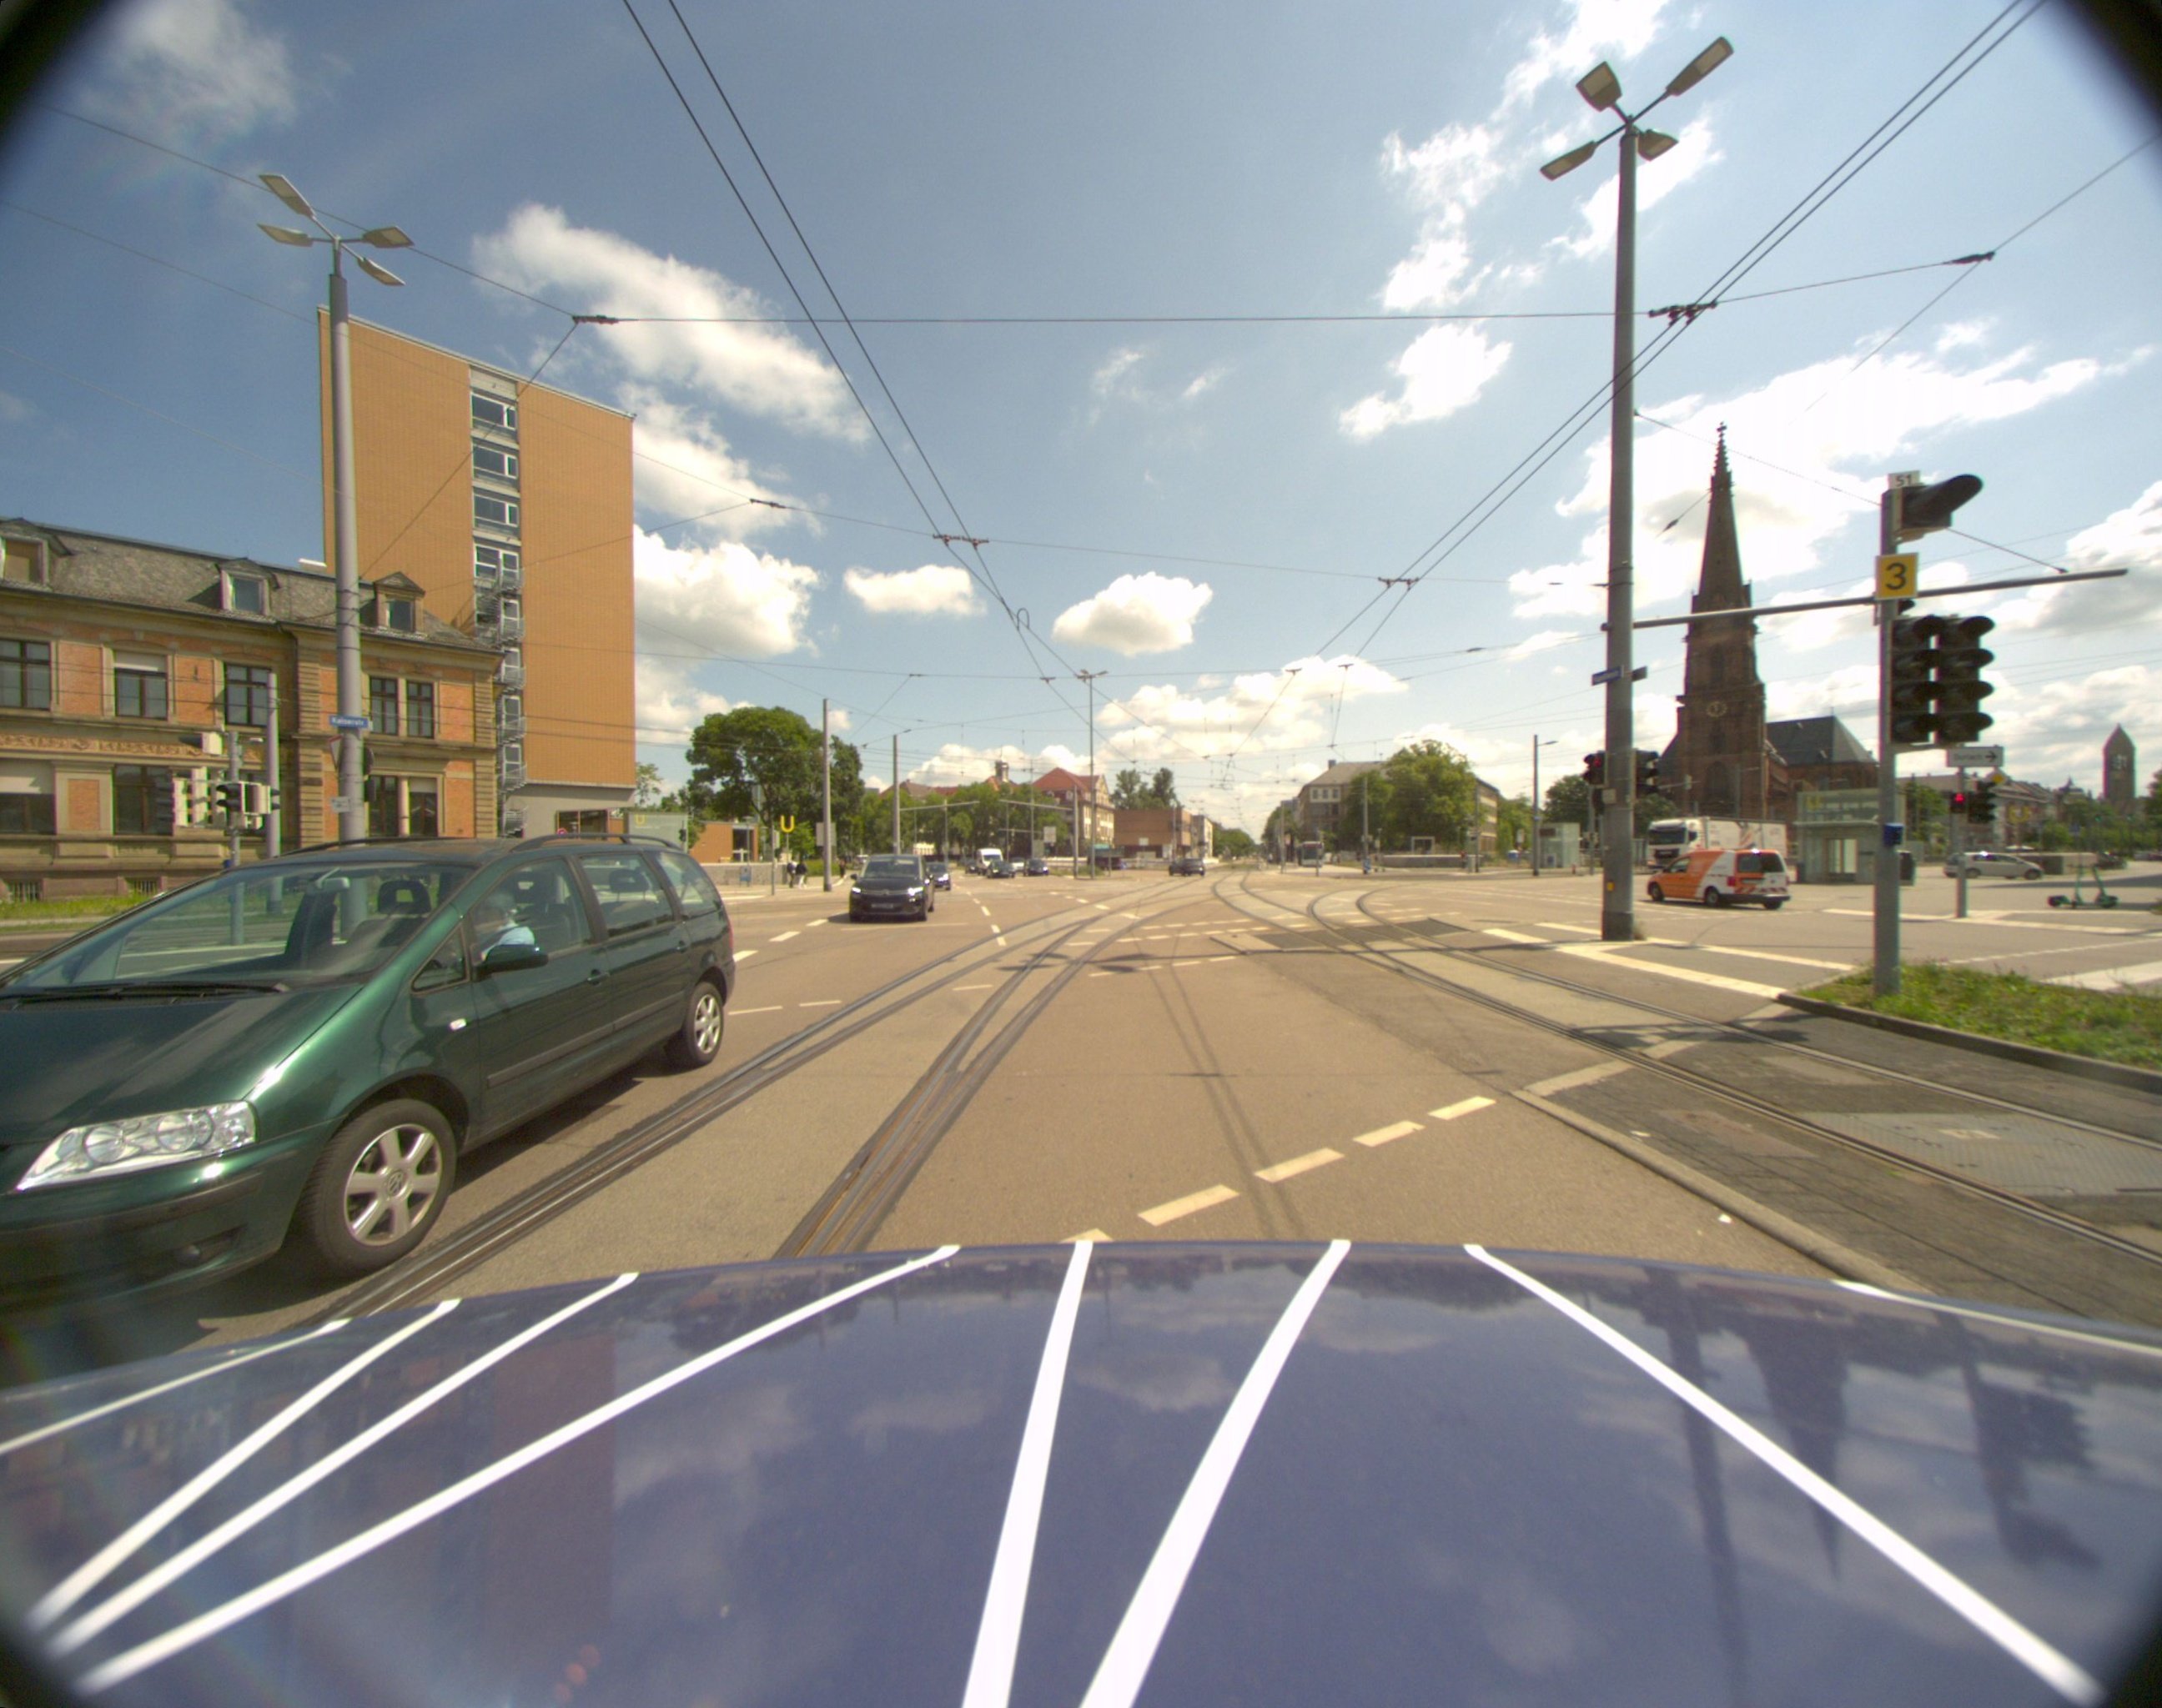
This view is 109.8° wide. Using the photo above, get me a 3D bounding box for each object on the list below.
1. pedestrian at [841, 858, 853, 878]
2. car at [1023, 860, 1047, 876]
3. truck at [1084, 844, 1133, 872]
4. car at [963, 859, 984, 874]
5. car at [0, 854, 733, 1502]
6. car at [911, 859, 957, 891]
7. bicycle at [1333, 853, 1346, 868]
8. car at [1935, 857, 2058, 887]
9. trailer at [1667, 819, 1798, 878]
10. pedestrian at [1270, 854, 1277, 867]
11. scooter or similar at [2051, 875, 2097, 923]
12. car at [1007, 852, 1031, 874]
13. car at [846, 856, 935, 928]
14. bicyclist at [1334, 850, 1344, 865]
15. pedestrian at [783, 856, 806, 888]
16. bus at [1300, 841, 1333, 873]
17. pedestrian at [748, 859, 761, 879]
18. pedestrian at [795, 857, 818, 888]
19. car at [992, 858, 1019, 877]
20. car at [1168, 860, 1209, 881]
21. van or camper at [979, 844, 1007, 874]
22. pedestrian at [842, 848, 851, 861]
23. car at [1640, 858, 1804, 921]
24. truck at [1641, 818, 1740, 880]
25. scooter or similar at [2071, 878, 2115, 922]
[{"bbox_3d":[-18.697,1.087,60.778,0.830,1.576,0.767,0,0,-10],"label":"pedestrian"},{"bbox_3d":[-3.982,1.183,65.974,1.673,1.368,3.912,0,0,-9],"label":"car"},{"bbox_3d":[2.993,0.421,85.352,3.358,2.981,8.724,-1,0,-13],"label":"truck"},{"bbox_3d":[-11.513,1.299,81.074,1.783,1.565,3.956,0,0,-15],"label":"car"},{"bbox_3d":[-3.649,0.888,4.020,1.819,1.707,4.084,-2,0,-2],"label":"car"},{"bbox_3d":[-7.253,1.048,37.815,1.874,1.476,4.425,0,-2,-6],"label":"car"},{"bbox_3d":[36.256,0.878,106.770,1.246,2.002,3.487,0,0,11],"label":"bicycle"},{"bbox_3d":[51.523,1.019,42.848,4.163,1.633,1.632,0,0,20],"label":"car"},{"bbox_3d":[48.553,-0.378,56.399,13.440,4.052,2.942,0,0,-29],"label":"trailer"},{"bbox_3d":[27.827,0.968,109.645,0.910,1.812,1.022,1,1,10],"label":"pedestrian"},{"bbox_3d":[25.757,1.162,19.710,0.462,1.193,0.549,0,0,1],"label":"scooter or similar"},{"bbox_3d":[-5.950,0.845,72.888,1.816,2.002,3.996,0,0,-11],"label":"car"},{"bbox_3d":[-4.794,0.875,19.677,1.874,1.607,4.422,0,0,-9],"label":"car"},{"bbox_3d":[36.255,0.464,106.833,1.124,2.002,1.320,1,1,11],"label":"bicyclist"},{"bbox_3d":[-16.434,1.030,43.580,1.029,1.802,0.726,-1,1,-39],"label":"pedestrian"},{"bbox_3d":[26.539,0.351,85.938,2.947,3.427,7.955,0,0,13],"label":"bus"},{"bbox_3d":[-27.474,1.250,63.919,0.830,1.616,0.767,0,0,-10],"label":"pedestrian"},{"bbox_3d":[-15.648,1.047,43.286,1.029,1.710,0.726,-1,1,-39],"label":"pedestrian"},{"bbox_3d":[-6.297,1.076,62.890,1.902,1.455,4.257,0,0,-11],"label":"car"},{"bbox_3d":[8.618,1.310,61.172,1.816,1.551,4.103,1,0,-14],"label":"car"},{"bbox_3d":[-8.394,0.441,72.402,2.233,2.719,5.516,0,0,-11],"label":"van or camper"},{"bbox_3d":[-32.951,0.071,106.865,1.153,1.679,1.308,0,0,-22],"label":"pedestrian"},{"bbox_3d":[19.923,1.023,23.889,1.769,1.755,4.242,-1,0,4],"label":"car"},{"bbox_3d":[42.560,-0.348,53.038,6.889,4.095,2.957,-1,1,-29],"label":"truck"},{"bbox_3d":[26.399,1.190,19.827,0.416,1.118,0.556,0,0,1],"label":"scooter or similar"}]
